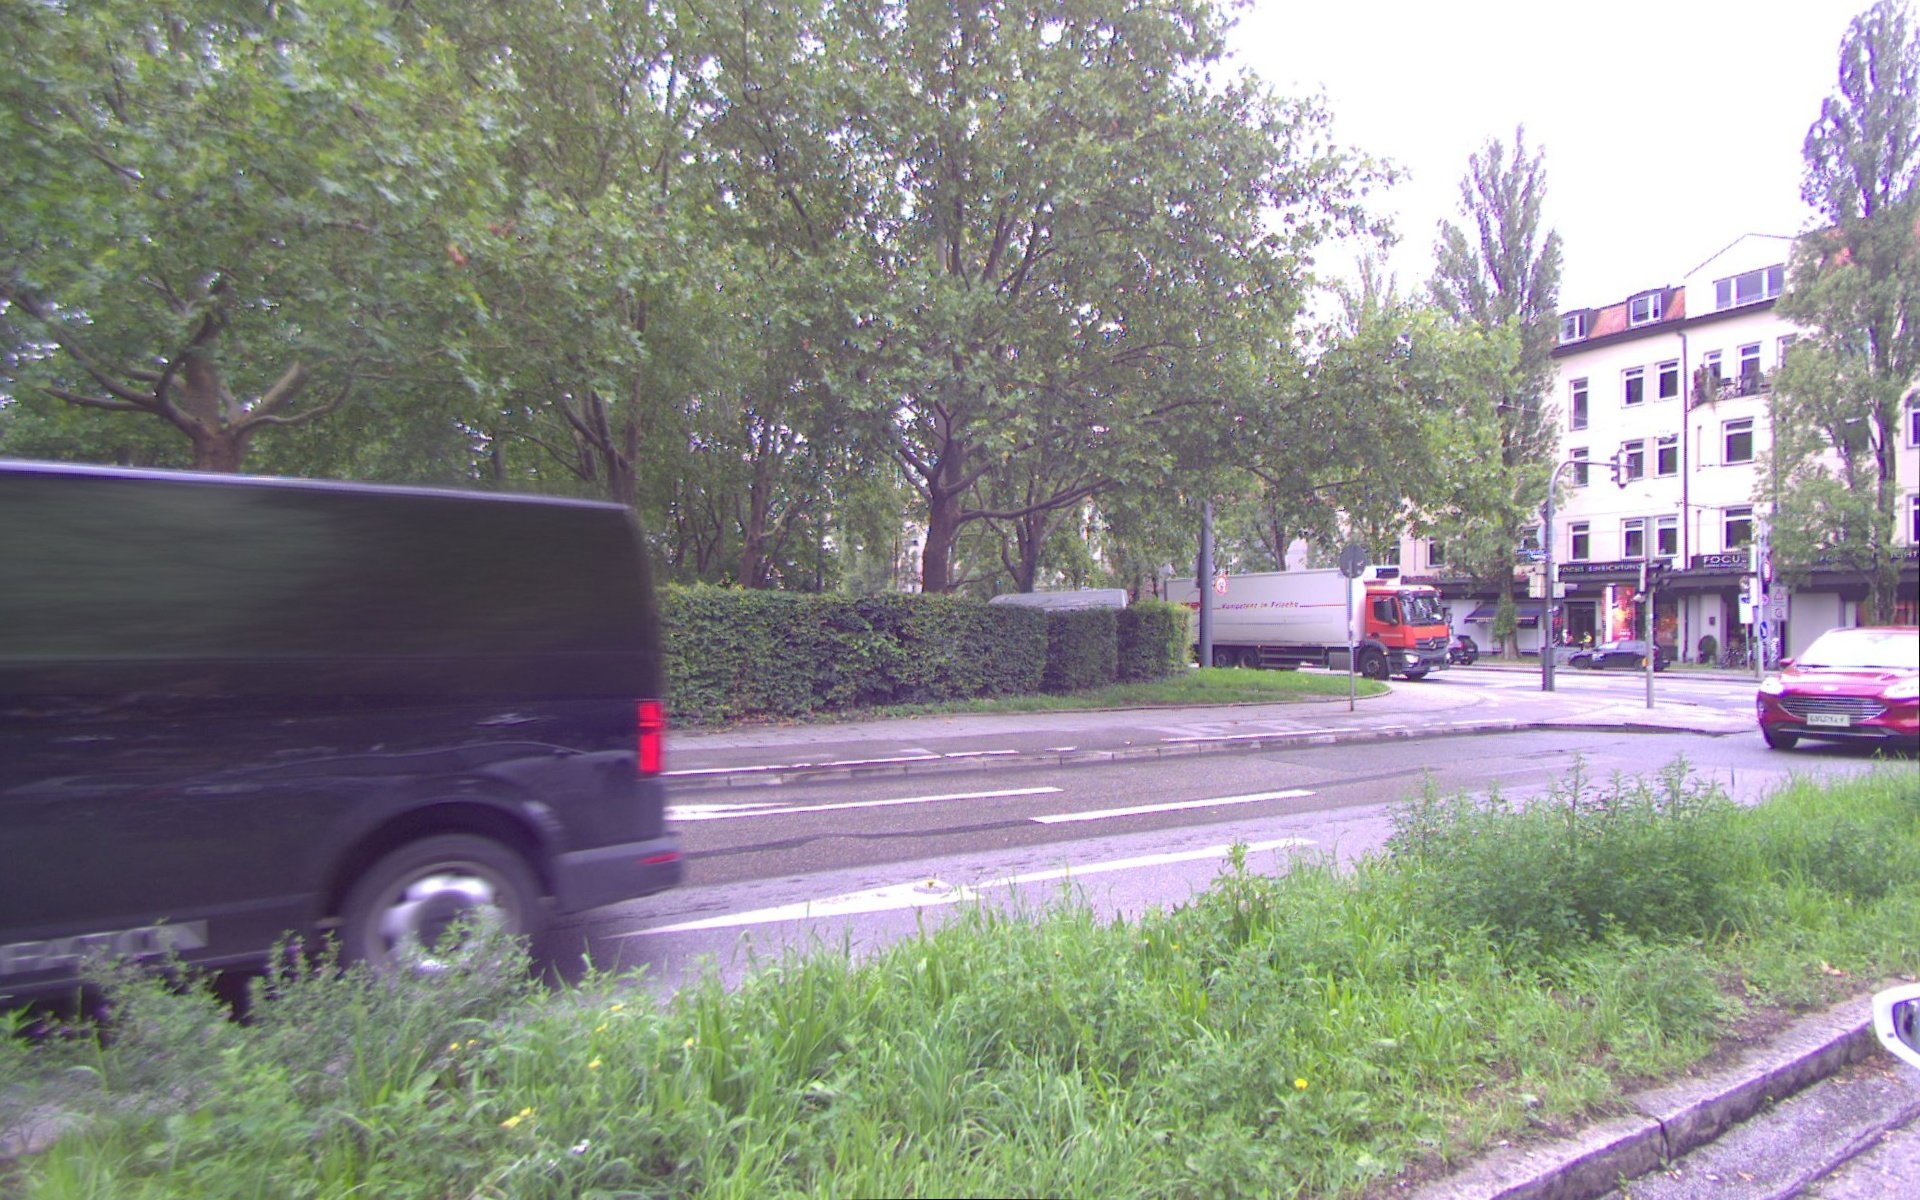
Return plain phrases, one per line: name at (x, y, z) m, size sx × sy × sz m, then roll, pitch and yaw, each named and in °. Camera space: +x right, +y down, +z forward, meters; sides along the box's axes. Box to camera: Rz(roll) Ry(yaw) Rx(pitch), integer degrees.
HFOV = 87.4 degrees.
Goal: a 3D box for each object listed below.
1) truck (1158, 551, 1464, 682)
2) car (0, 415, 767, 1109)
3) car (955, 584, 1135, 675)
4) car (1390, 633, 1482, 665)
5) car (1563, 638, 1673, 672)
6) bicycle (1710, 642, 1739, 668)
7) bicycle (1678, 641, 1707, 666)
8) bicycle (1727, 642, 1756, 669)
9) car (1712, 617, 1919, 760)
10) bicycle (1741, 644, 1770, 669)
truck at (12.145, 0.638, 36.681) m, size 2.716 × 4.033 × 11.623 m, roll 0°, pitch -1°, yaw -30°
car at (-3.256, 0.487, 3.726) m, size 4.651 × 2.017 × 1.848 m, roll 2°, pitch -2°, yaw -31°
car at (2.349, 0.819, 27.264) m, size 4.536 × 2.040 × 2.001 m, roll -5°, pitch -2°, yaw 11°
car at (25.940, 2.635, 54.884) m, size 1.706 × 1.633 × 4.435 m, roll 1°, pitch -2°, yaw -30°
car at (30.770, 2.540, 47.056) m, size 1.786 × 1.485 × 3.964 m, roll 2°, pitch -2°, yaw -33°
bicycle at (35.707, 2.550, 46.889) m, size 1.869 × 1.200 × 0.492 m, roll 2°, pitch -2°, yaw -33°
bicycle at (35.055, 2.563, 48.072) m, size 1.869 × 1.200 × 0.492 m, roll 2°, pitch -2°, yaw -33°
bicycle at (35.982, 2.553, 46.242) m, size 1.869 × 1.200 × 0.492 m, roll 2°, pitch -2°, yaw -33°
car at (12.700, 1.074, 13.898) m, size 4.885 × 1.659 × 2.092 m, roll 0°, pitch -2°, yaw -33°
bicycle at (36.282, 2.568, 45.811) m, size 1.869 × 1.096 × 0.492 m, roll 2°, pitch -2°, yaw -33°
